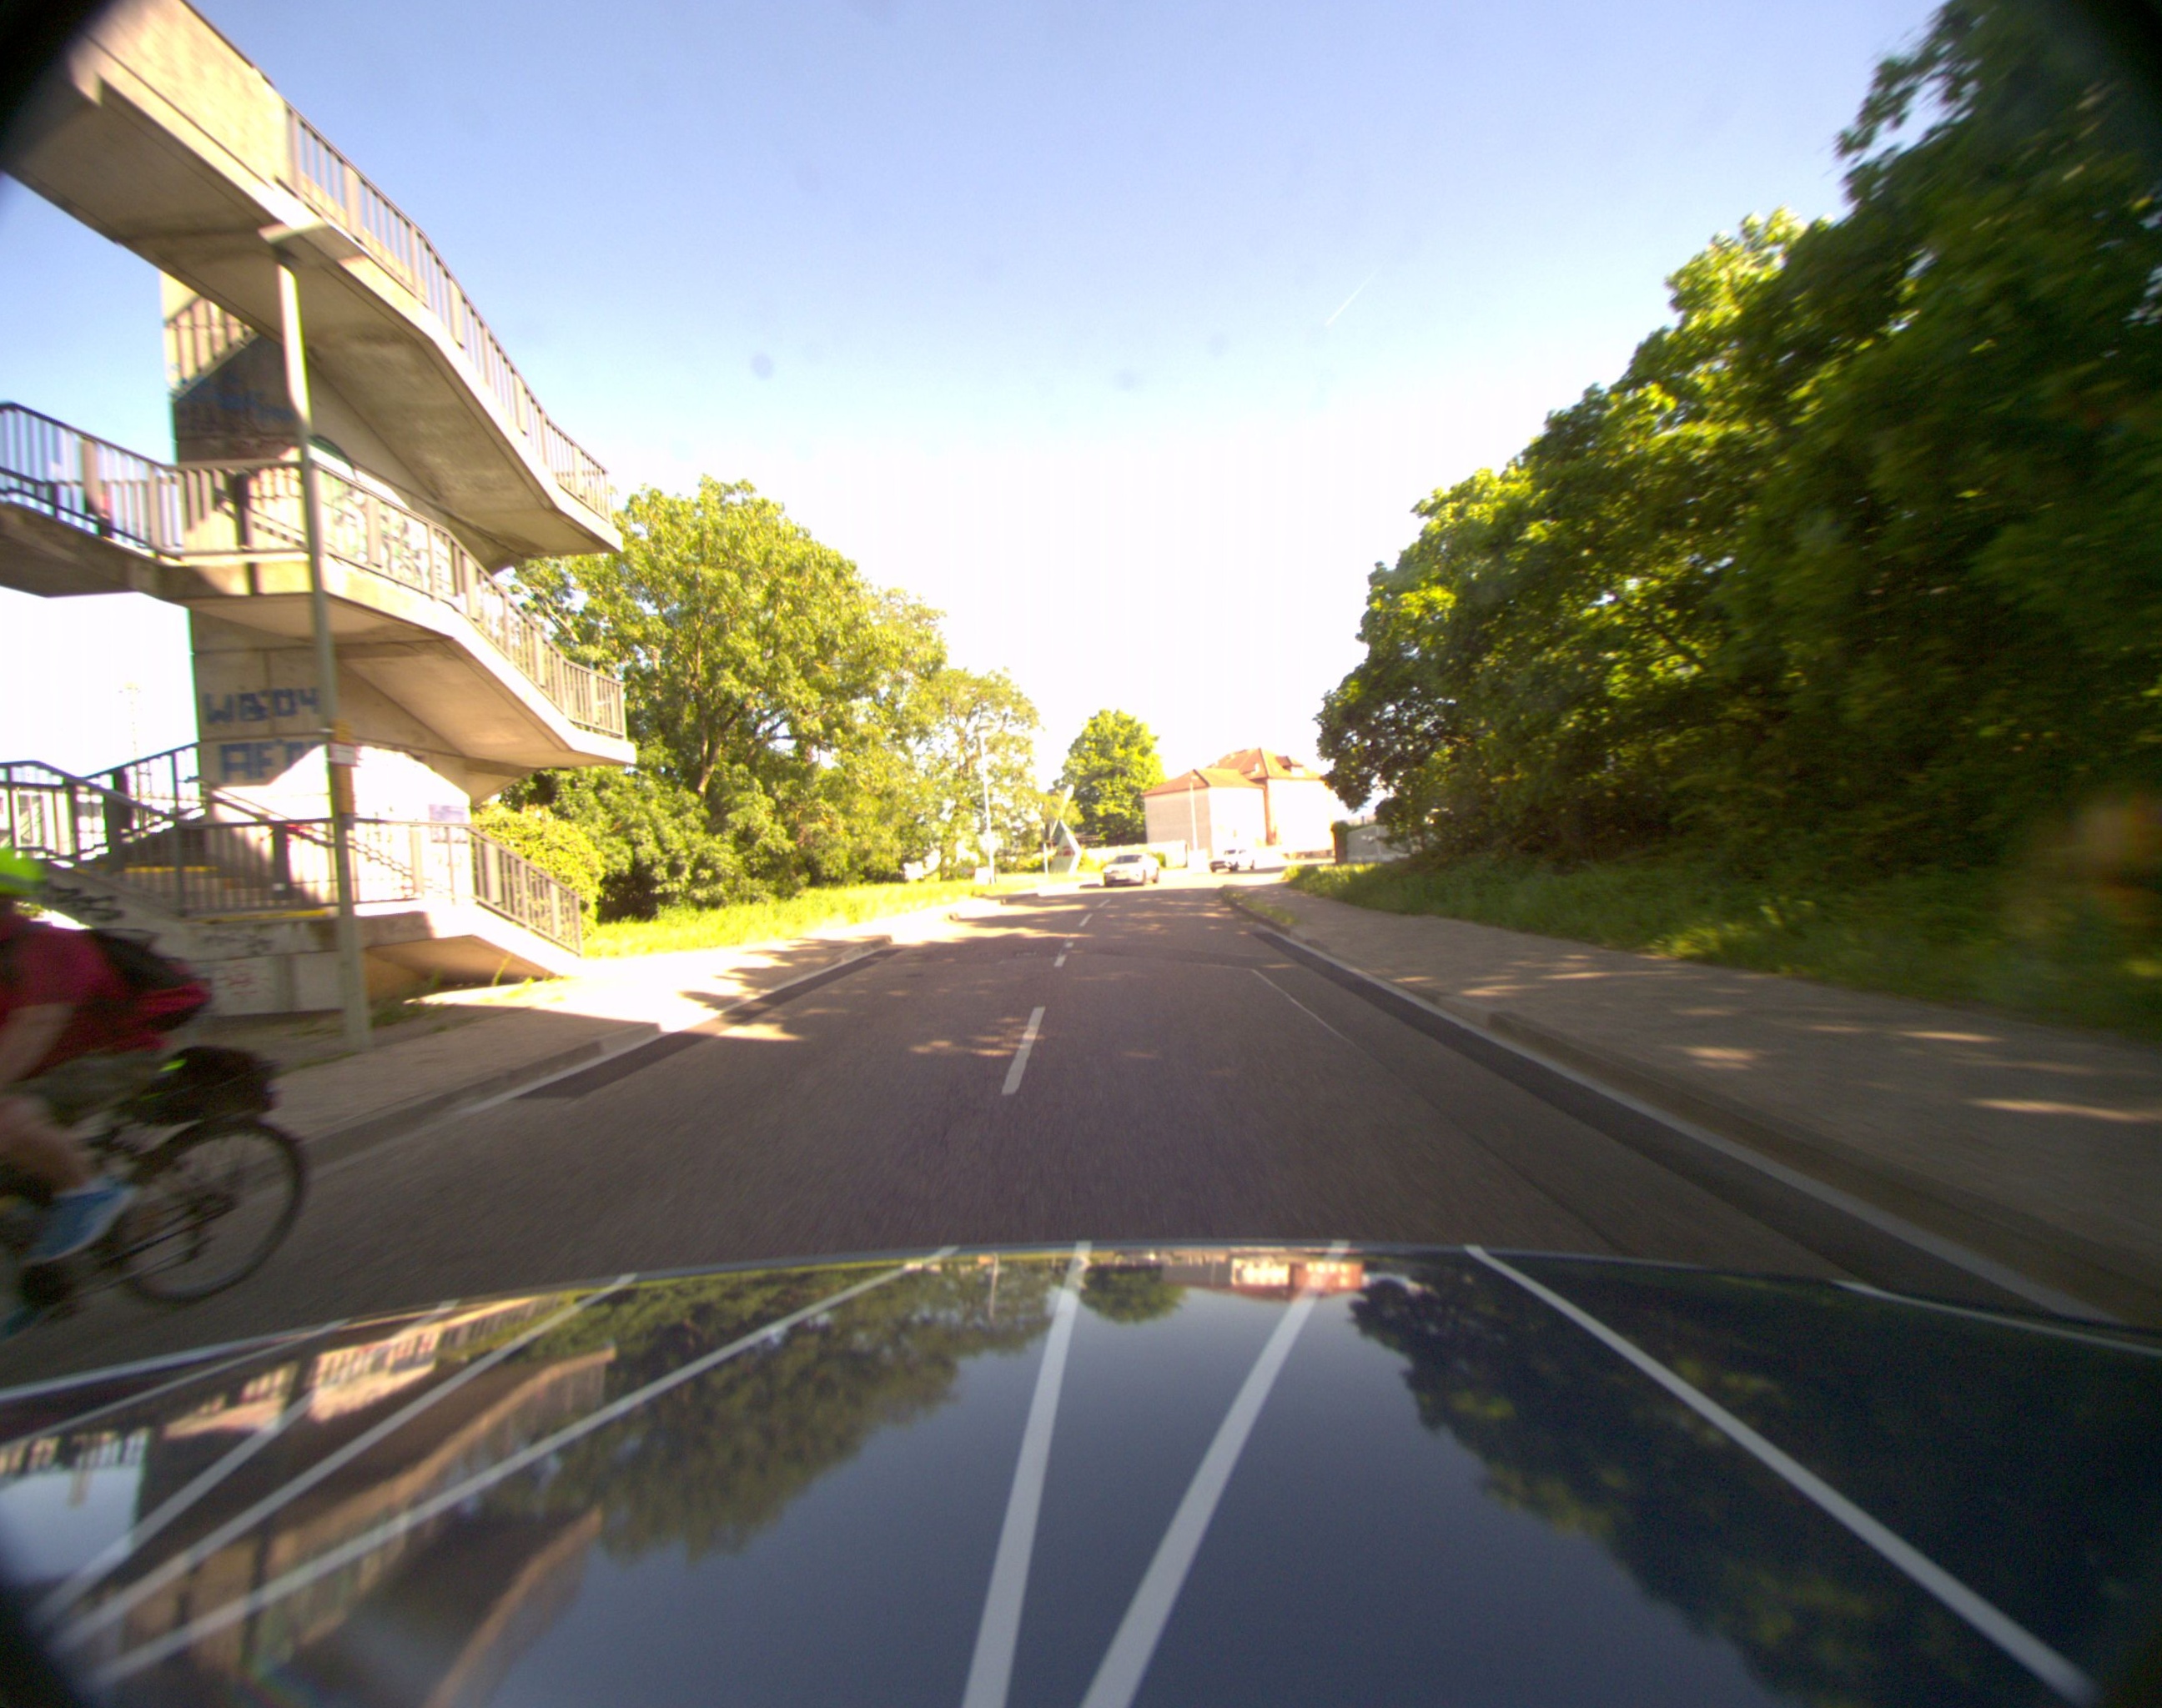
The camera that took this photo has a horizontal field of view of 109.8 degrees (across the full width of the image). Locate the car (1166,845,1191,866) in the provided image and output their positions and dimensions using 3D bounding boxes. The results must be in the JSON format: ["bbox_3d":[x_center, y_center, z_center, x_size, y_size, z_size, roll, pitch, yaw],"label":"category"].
[{"bbox_3d":[9.055,0.153,70.553,1.998,1.767,4.367,-4,0,5],"label":"car"}]

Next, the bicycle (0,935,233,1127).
[{"bbox_3d":[-7.867,1.321,5.736,0.599,1.175,2.180,-3,0,-6],"label":"bicycle"}]

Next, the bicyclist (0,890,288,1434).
[{"bbox_3d":[-3.475,0.897,2.418,0.843,1.480,0.923,-4,0,-3],"label":"bicyclist"}]

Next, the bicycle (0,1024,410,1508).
[{"bbox_3d":[-3.446,1.310,2.335,0.843,1.045,2.189,-4,0,-3],"label":"bicycle"}]

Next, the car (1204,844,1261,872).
[{"bbox_3d":[10.229,0.275,51.051,1.847,1.621,4.303,-3,0,40],"label":"car"}]

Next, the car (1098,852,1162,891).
[{"bbox_3d":[2.404,0.787,36.022,1.848,1.621,4.301,-3,0,20],"label":"car"}]
